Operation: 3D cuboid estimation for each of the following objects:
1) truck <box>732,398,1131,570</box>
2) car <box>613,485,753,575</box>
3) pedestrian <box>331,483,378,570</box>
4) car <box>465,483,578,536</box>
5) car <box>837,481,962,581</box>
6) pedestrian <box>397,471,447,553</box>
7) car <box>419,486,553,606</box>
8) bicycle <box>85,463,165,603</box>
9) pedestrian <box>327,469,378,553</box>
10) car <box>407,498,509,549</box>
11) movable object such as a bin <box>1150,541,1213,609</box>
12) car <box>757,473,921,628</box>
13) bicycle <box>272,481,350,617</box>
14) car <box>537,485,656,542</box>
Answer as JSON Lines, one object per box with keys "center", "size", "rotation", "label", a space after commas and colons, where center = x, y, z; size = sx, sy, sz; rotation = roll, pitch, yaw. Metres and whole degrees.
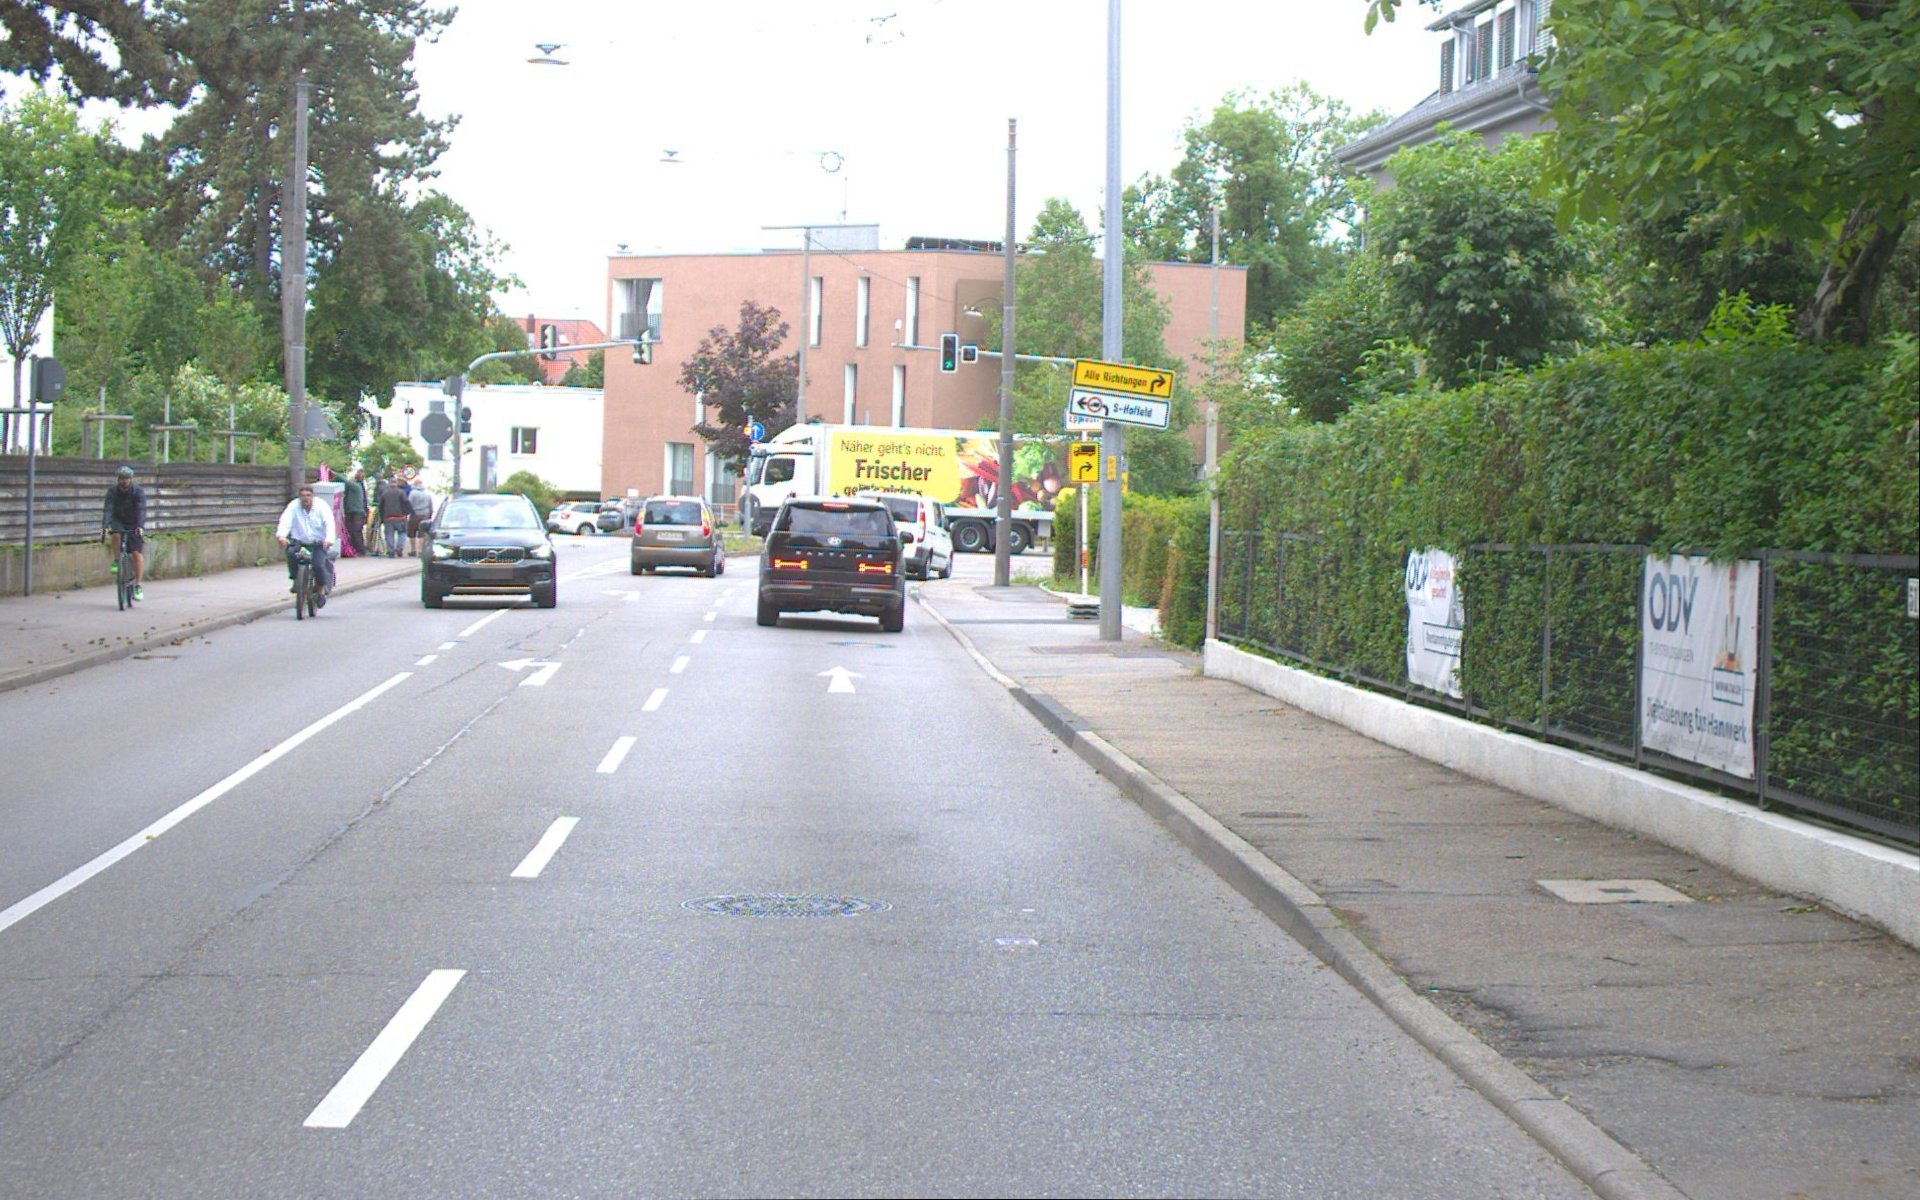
{"center": [-0.912, -3.591, 106.474], "size": [11.752, 4.718, 3.137], "rotation": [2, 2, -11], "label": "truck"}
{"center": [-5.578, -1.427, 69.670], "size": [1.894, 1.700, 3.999], "rotation": [3, 2, 8], "label": "car"}
{"center": [-12.981, -1.572, 73.714], "size": [0.750, 1.831, 0.615], "rotation": [2, 2, -31], "label": "pedestrian"}
{"center": [-17.612, -3.638, 138.131], "size": [3.986, 2.006, 2.000], "rotation": [1, 2, -30], "label": "car"}
{"center": [-1.344, -1.596, 78.079], "size": [1.962, 2.006, 4.427], "rotation": [6, 3, 8], "label": "car"}
{"center": [-11.711, -1.911, 74.843], "size": [0.695, 1.728, 0.750], "rotation": [4, 2, 42], "label": "pedestrian"}
{"center": [-6.877, -0.823, 49.945], "size": [1.831, 1.625, 4.284], "rotation": [1, 2, -8], "label": "car"}
{"center": [-10.380, -0.840, 42.778], "size": [0.561, 1.670, 1.981], "rotation": [3, 1, -4], "label": "bicycle"}
{"center": [-13.022, -1.913, 73.715], "size": [0.815, 1.757, 0.868], "rotation": [2, 2, -25], "label": "pedestrian"}
{"center": [-21.641, -3.286, 148.136], "size": [3.985, 2.006, 2.001], "rotation": [2, 2, -19], "label": "car"}
{"center": [3.695, -0.418, 57.395], "size": [0.714, 1.070, 0.682], "rotation": [4, 1, -40], "label": "movable object such as a bin"}
{"center": [-1.605, -0.646, 45.358], "size": [1.993, 1.875, 4.000], "rotation": [2, 1, -2], "label": "car"}
{"center": [-8.526, -0.681, 45.230], "size": [0.758, 1.738, 1.872], "rotation": [1, 2, -4], "label": "bicycle"}
{"center": [-13.854, -3.295, 131.065], "size": [3.986, 2.006, 2.000], "rotation": [1, 2, -31], "label": "car"}
